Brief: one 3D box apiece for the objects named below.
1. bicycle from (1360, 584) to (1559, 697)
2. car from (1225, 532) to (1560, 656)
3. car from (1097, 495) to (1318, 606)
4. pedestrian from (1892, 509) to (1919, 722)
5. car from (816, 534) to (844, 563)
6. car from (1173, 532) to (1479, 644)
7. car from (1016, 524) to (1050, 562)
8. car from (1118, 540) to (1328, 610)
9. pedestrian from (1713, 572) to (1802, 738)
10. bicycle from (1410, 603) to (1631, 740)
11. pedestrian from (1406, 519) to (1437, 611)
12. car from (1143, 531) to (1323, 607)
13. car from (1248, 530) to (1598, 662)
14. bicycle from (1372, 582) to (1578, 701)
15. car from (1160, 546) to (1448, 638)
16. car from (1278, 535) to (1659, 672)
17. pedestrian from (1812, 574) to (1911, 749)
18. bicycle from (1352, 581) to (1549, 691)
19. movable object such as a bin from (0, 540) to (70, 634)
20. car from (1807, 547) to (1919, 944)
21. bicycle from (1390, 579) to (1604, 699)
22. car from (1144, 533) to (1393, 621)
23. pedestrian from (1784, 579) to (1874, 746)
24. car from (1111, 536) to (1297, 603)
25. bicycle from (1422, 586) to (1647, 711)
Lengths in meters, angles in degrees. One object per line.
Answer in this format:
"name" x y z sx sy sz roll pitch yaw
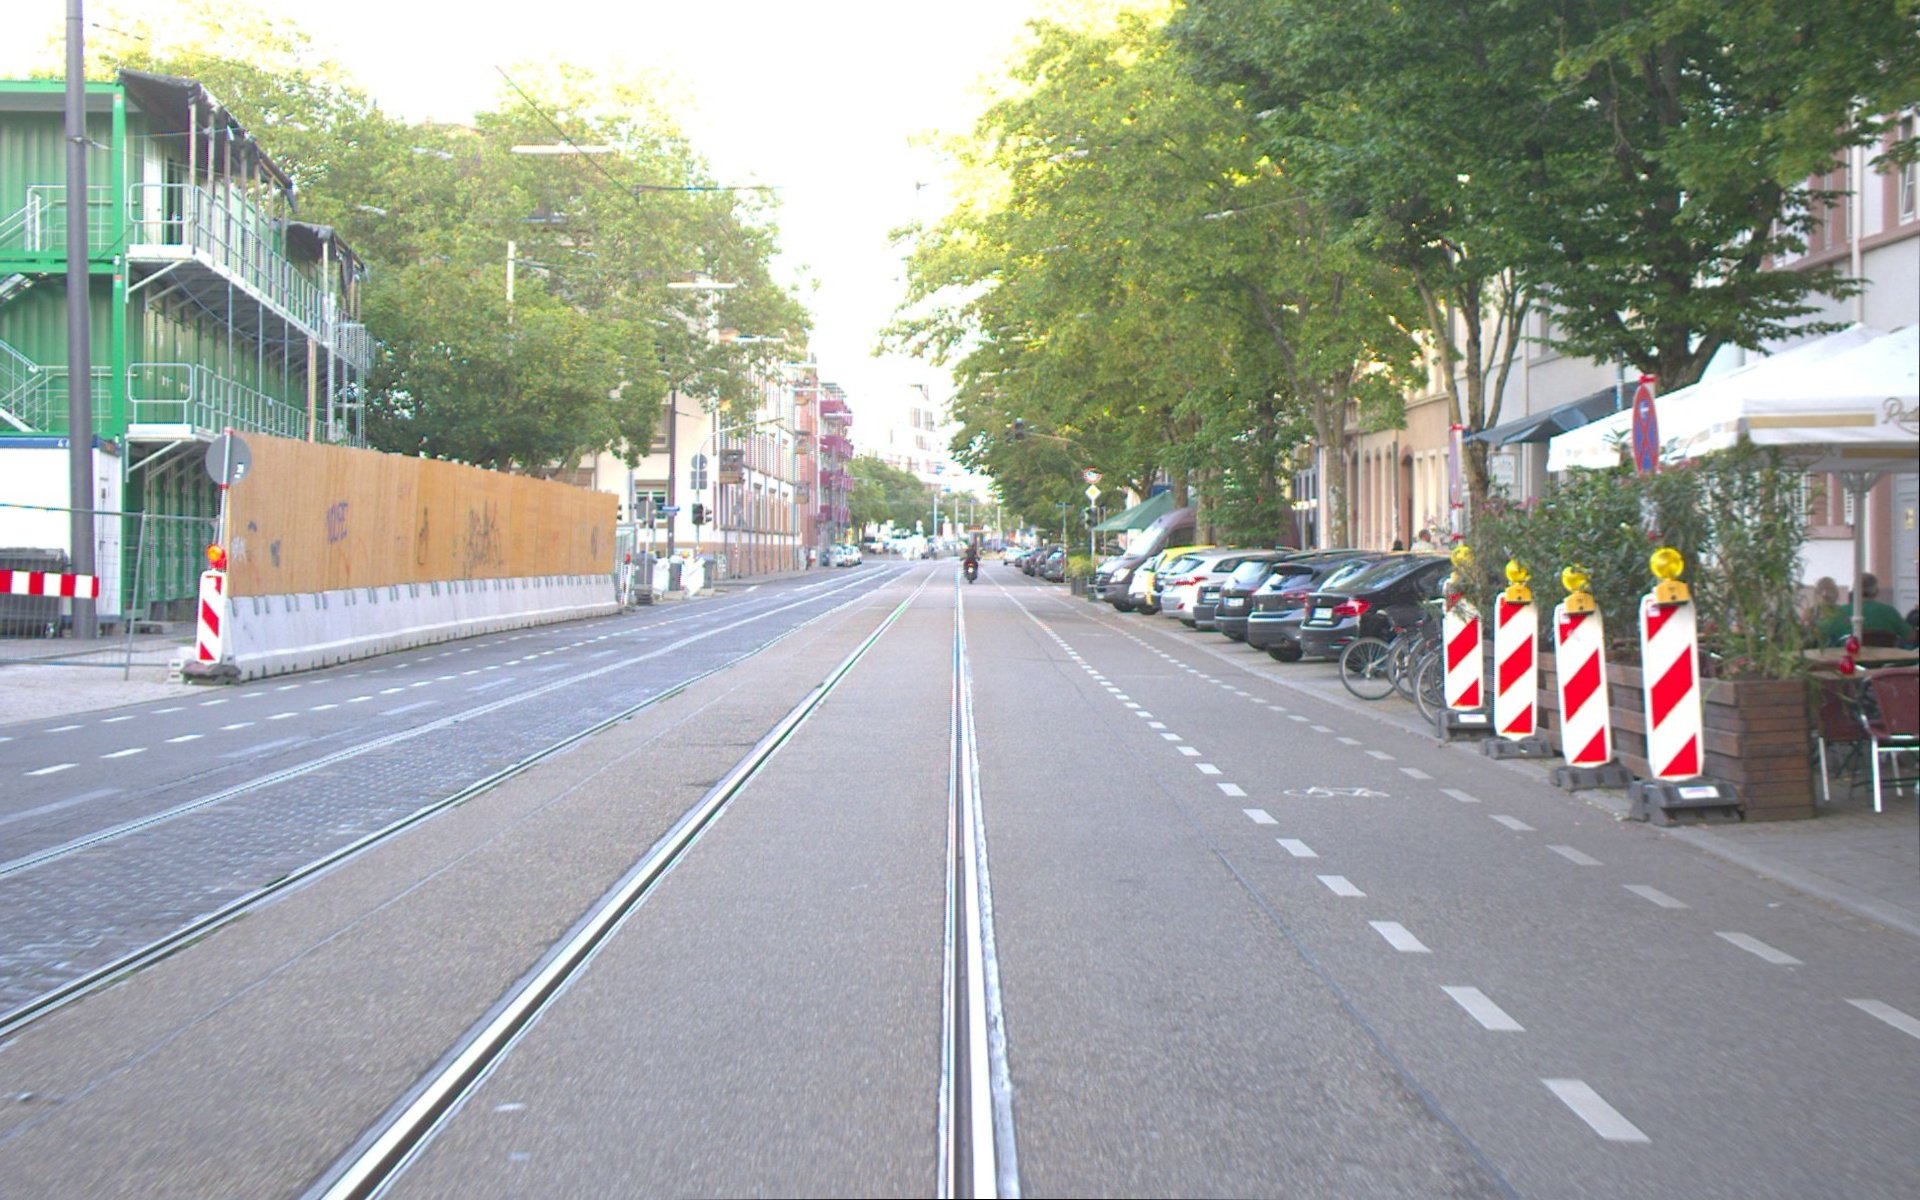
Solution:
"bicycle" 5.047 0.407 34.786 1.863 1.028 0.591 -3 1 -2
"car" 5.920 -0.097 47.132 4.115 1.465 1.824 -3 1 -17
"car" 6.245 -1.251 86.819 5.093 2.633 2.022 -2 1 -16
"pedestrian" 8.188 0.125 28.685 0.551 1.757 0.894 1 1 0
"car" -9.810 -3.895 259.237 1.898 2.171 4.000 1 1 0
"car" 5.555 -0.192 52.229 4.115 1.465 2.016 -3 2 -24
"car" 3.916 -3.066 184.733 1.721 2.007 4.000 1 1 0
"car" 5.720 -0.549 74.851 4.120 1.420 1.921 -2 0 -25
"pedestrian" 6.298 0.428 27.165 0.502 1.288 0.600 1 1 -4
"bicycle" 4.614 0.583 28.349 1.678 1.028 0.557 -3 1 -1
"pedestrian" 9.104 -0.691 67.827 0.565 1.808 0.607 0 1 3
"car" 6.195 -0.714 78.311 3.950 1.614 1.921 -1 0 1
"car" 5.965 -0.071 44.455 3.948 1.465 2.002 -3 1 -16
"bicycle" 5.101 0.405 34.132 1.886 1.064 0.674 -3 1 -1
"car" 5.657 -0.149 56.597 4.249 1.387 2.016 -2 1 -23
"car" 6.176 0.019 41.853 4.160 1.421 1.824 -3 1 -18
"pedestrian" 6.786 0.459 25.894 0.598 1.288 0.504 1 1 2
"bicycle" 5.040 0.366 35.375 1.903 1.028 0.533 -3 1 -1
"movable object such as a bin" -13.841 -0.199 50.592 1.306 1.365 0.784 0 1 -3
"car" 5.630 0.508 14.094 3.960 1.548 1.706 -2 1 -25
"bicycle" 5.101 0.369 32.715 1.886 1.028 0.608 -3 1 -1
"car" 5.791 -0.445 64.785 4.249 1.543 2.020 -1 1 -10
"pedestrian" 6.882 0.489 27.230 0.502 1.288 0.600 1 1 -4
"car" 5.829 -0.734 82.019 3.949 1.481 1.921 -2 0 -23
"bicycle" 5.216 0.434 31.264 1.886 1.028 0.608 -3 1 -1
